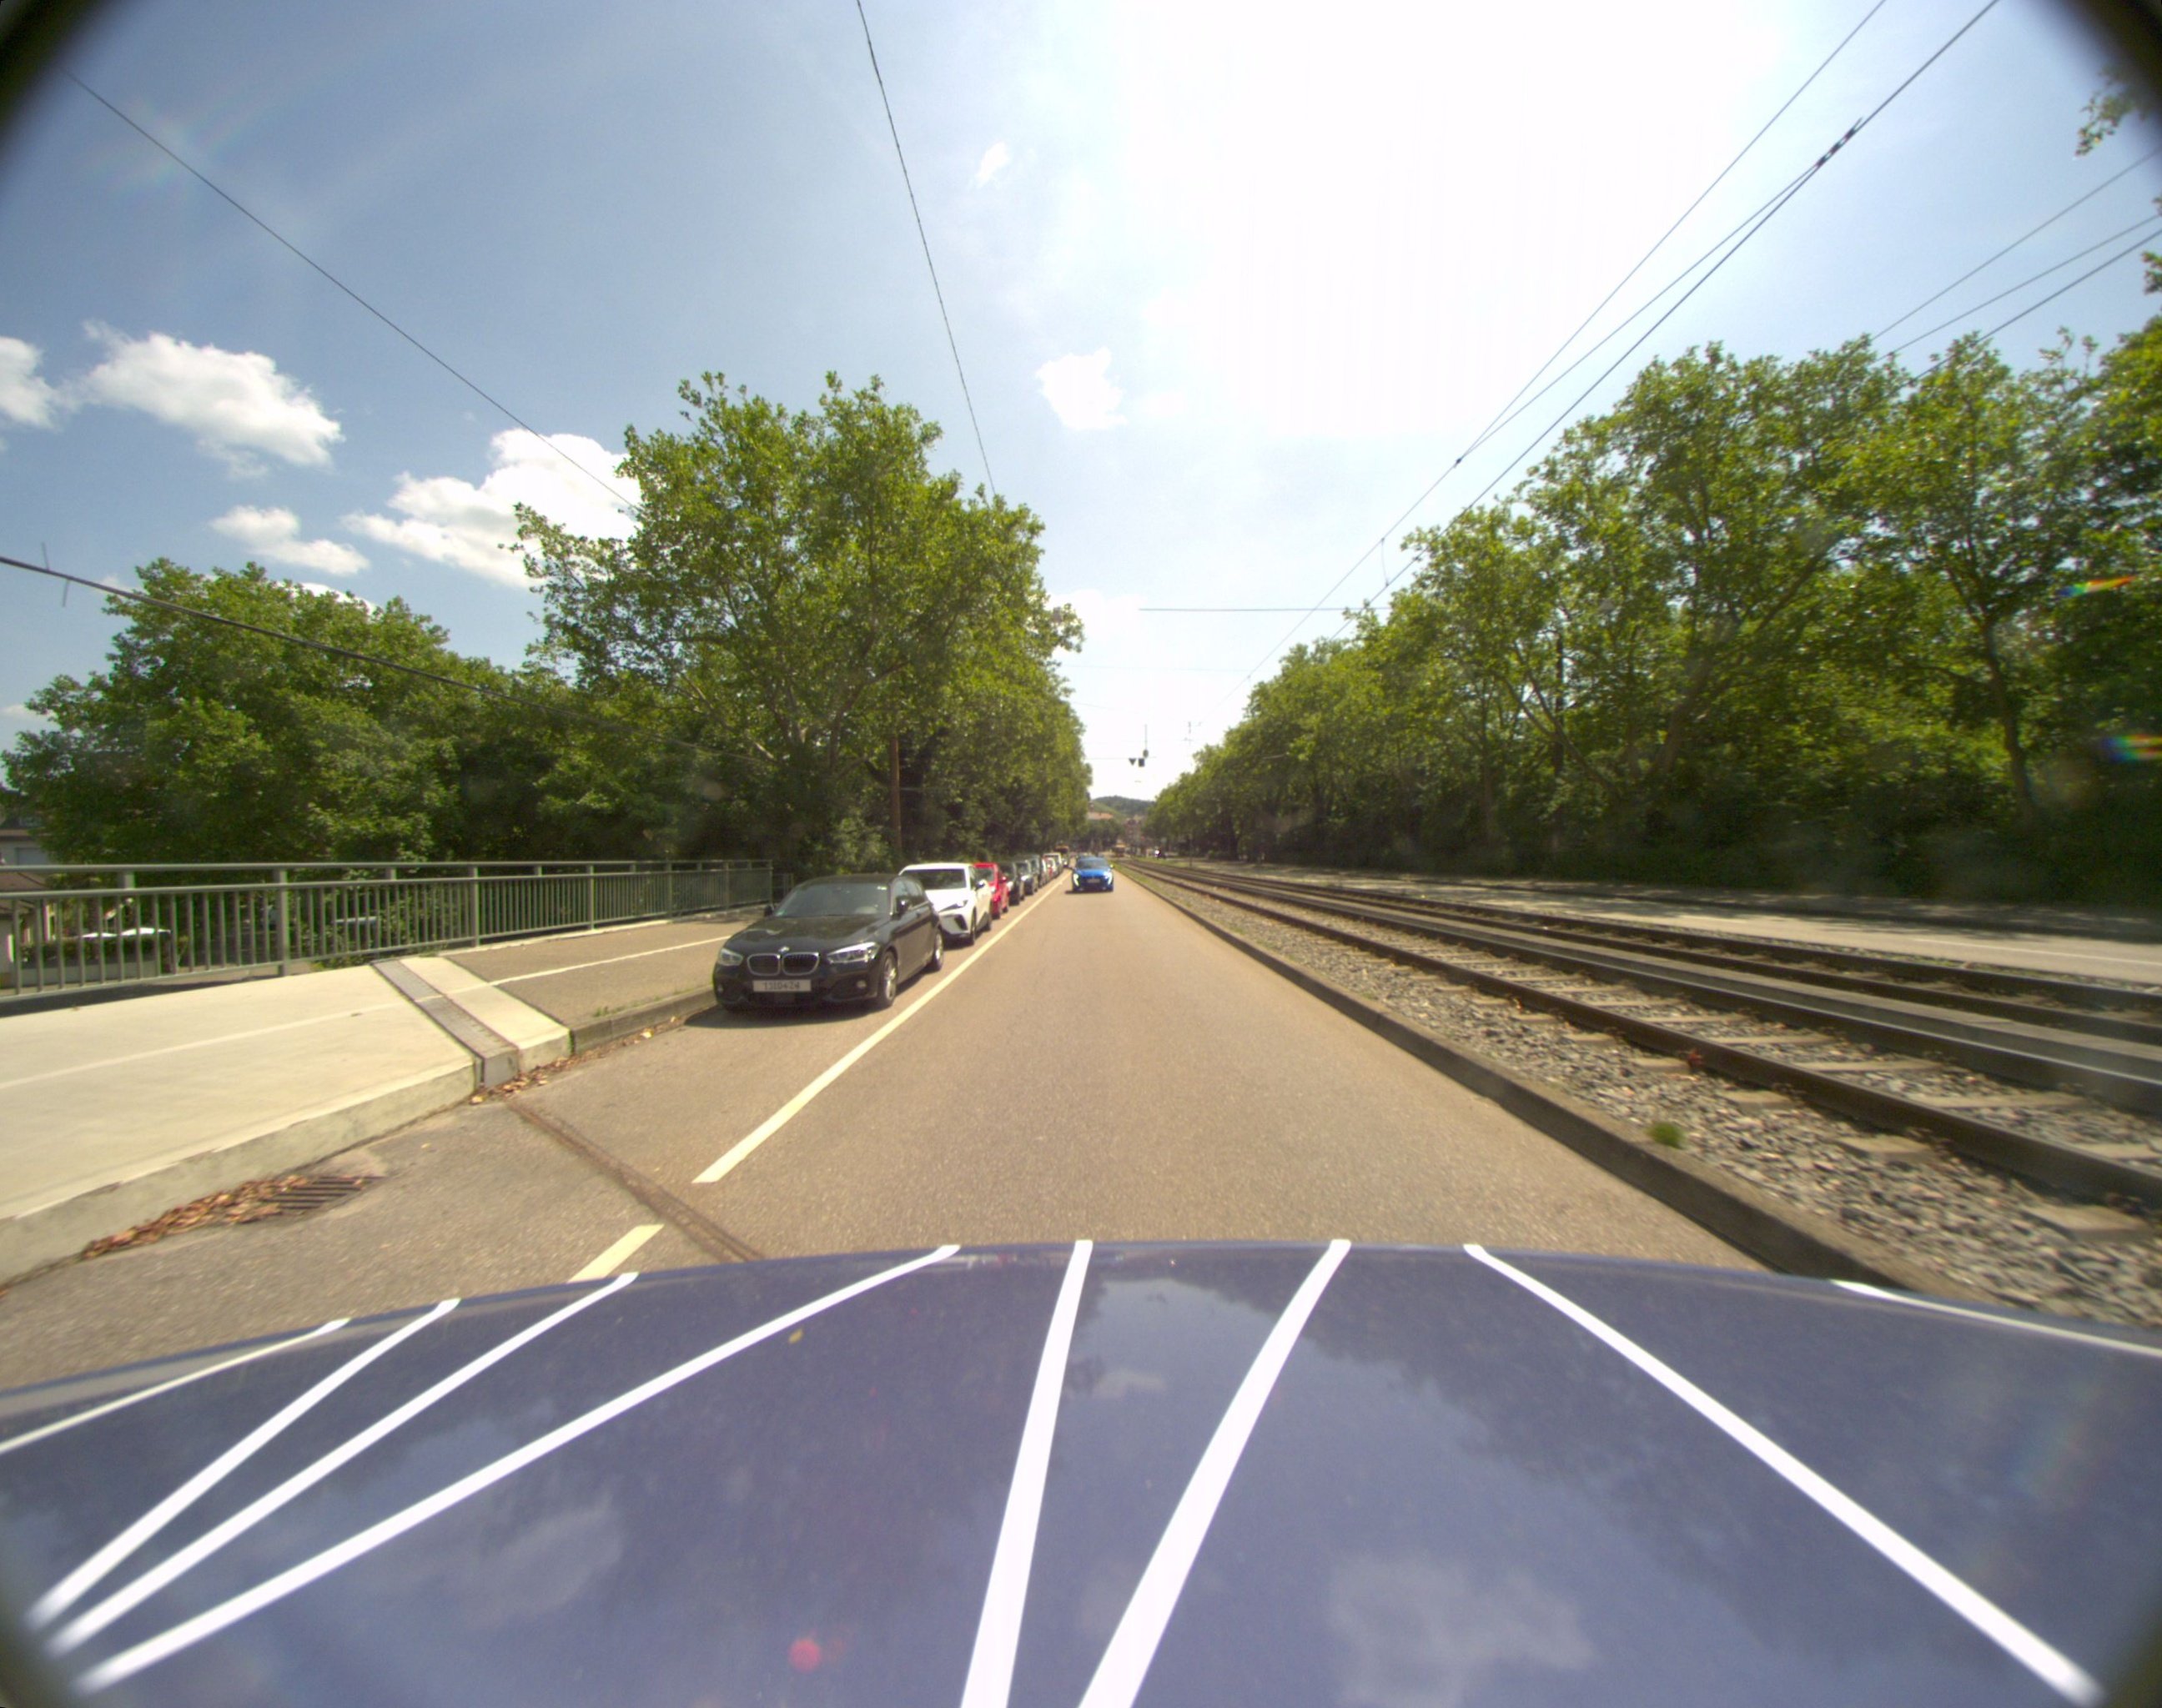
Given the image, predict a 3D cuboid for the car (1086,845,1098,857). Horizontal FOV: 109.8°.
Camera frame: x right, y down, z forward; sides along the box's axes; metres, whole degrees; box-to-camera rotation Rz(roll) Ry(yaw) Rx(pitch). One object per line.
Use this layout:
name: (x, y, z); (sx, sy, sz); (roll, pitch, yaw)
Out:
car: (2.072, -0.497, 137.290); (1.998, 2.002, 4.000); (-2, 1, 2)

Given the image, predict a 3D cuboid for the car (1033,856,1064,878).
car: (-2.277, 0.916, 54.646); (1.829, 1.401, 4.246); (-2, 0, 2)

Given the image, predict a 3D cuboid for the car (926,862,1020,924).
car: (-2.864, 0.993, 21.157); (1.829, 1.422, 4.246); (-2, 0, 2)

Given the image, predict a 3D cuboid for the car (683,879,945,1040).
car: (-2.863, 1.061, 9.059); (1.759, 1.382, 3.699); (-1, 0, 1)

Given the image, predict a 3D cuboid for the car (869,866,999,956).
car: (-2.720, 0.997, 14.968); (1.683, 1.423, 4.159); (-1, 0, 1)

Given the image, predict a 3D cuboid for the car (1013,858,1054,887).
car: (-2.590, 1.007, 42.372); (1.829, 1.422, 4.246); (-2, 0, 2)

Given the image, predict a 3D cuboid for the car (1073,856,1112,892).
car: (0.563, 0.855, 34.233); (1.596, 1.413, 3.701); (-3, 0, 2)

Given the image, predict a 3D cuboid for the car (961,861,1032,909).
car: (-2.875, 1.018, 26.698); (1.829, 1.422, 4.246); (-2, 0, 2)

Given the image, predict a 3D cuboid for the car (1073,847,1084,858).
car: (-0.500, -0.232, 145.220); (1.998, 2.002, 4.000); (-2, 1, 1)

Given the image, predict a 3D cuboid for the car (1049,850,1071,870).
car: (-1.897, 0.548, 69.120); (1.762, 1.685, 3.999); (-2, 1, 1)

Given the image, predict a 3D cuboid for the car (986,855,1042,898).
car: (-2.735, 0.898, 31.988); (1.798, 1.614, 4.246); (-2, 0, 2)

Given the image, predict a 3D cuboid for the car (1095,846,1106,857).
car: (3.882, -0.562, 151.699); (1.998, 2.002, 4.000); (-2, 1, 1)

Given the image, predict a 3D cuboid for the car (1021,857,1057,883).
car: (-2.584, 0.952, 47.275); (1.829, 1.422, 4.246); (-2, 0, 2)

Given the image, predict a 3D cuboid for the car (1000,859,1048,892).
car: (-2.720, 0.998, 37.039); (1.829, 1.422, 4.246); (-2, 0, 2)
